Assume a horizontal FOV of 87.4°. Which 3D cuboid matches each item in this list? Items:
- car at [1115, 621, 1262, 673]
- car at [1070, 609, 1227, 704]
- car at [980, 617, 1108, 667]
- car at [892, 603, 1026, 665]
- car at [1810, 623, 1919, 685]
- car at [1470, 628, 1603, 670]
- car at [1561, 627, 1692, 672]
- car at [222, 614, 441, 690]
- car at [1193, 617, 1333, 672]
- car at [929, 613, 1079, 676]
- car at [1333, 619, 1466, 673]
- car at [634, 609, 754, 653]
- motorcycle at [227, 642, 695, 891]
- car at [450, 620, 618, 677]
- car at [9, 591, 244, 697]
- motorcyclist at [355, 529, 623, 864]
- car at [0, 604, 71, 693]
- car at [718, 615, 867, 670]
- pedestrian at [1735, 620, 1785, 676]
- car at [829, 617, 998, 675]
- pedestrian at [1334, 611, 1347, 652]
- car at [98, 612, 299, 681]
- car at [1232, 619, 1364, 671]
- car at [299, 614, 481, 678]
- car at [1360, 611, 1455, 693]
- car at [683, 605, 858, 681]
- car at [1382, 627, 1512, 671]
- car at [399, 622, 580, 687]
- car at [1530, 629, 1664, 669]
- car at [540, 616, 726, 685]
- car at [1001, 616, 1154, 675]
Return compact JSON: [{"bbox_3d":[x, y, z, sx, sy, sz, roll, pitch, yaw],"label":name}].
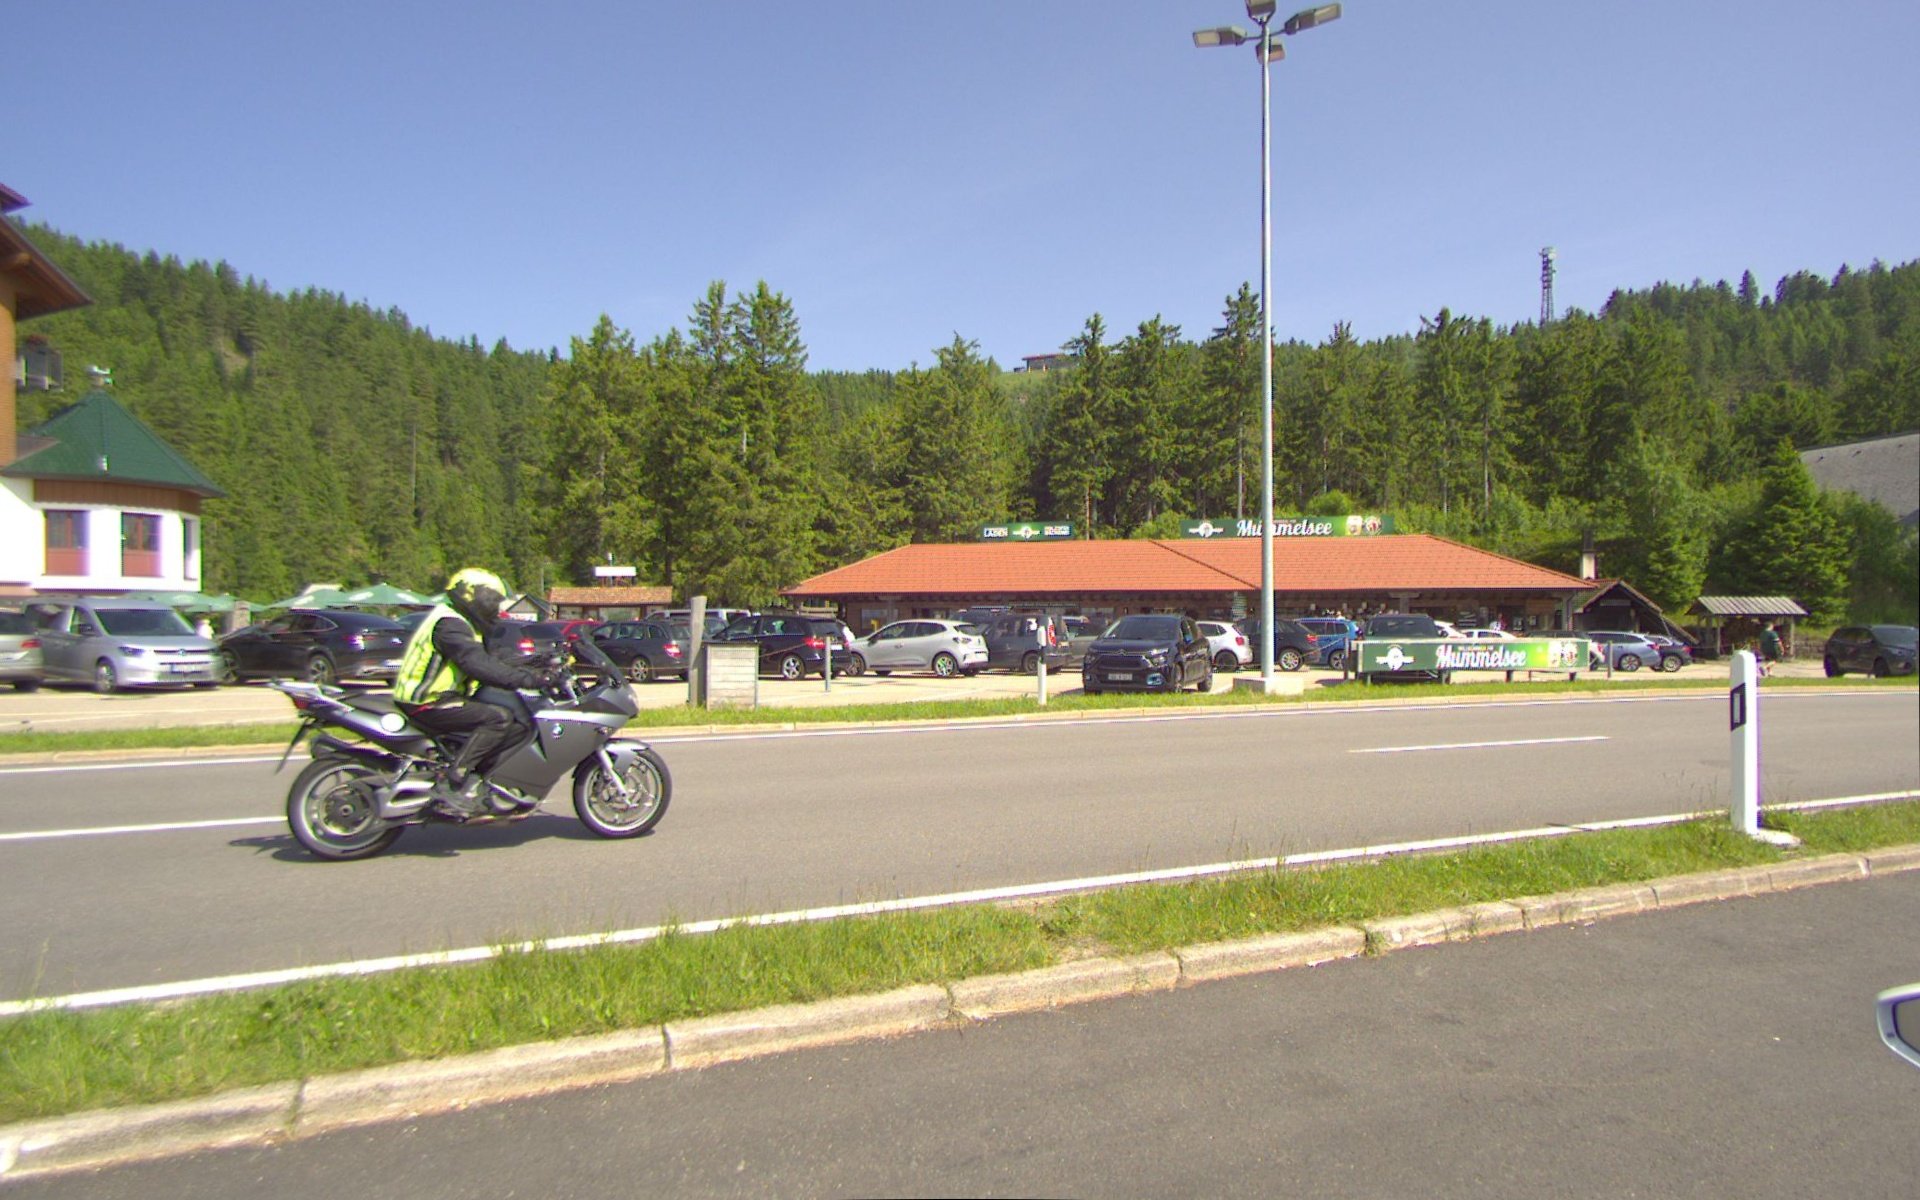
[{"bbox_3d":[6.706,1.352,29.430,3.923,1.439,1.907,-1,-2,23],"label":"car"},{"bbox_3d":[3.613,0.962,18.714,1.751,1.572,3.994,-1,-1,28],"label":"car"},{"bbox_3d":[2.861,1.410,34.038,3.921,1.595,2.000,-1,-2,20],"label":"car"},{"bbox_3d":[-0.027,1.104,32.733,3.921,1.929,2.000,-1,-1,20],"label":"car"},{"bbox_3d":[27.055,1.544,29.404,1.753,1.655,4.212,1,-1,17],"label":"car"},{"bbox_3d":[20.469,1.742,35.870,3.924,1.438,1.684,-1,-3,24],"label":"car"},{"bbox_3d":[25.655,1.885,38.831,3.924,1.639,1.998,-1,-1,25],"label":"car"},{"bbox_3d":[-13.000,1.047,20.793,3.923,1.449,1.913,-1,-1,22],"label":"car"},{"bbox_3d":[9.311,1.353,30.835,3.923,1.595,1.999,-1,-2,23],"label":"car"},{"bbox_3d":[1.190,1.179,27.035,3.661,1.609,1.734,-1,-1,23],"label":"car"},{"bbox_3d":[14.598,1.532,33.597,3.952,1.694,1.776,-1,-2,22],"label":"car"},{"bbox_3d":[-9.628,1.125,36.371,3.805,1.550,1.910,-1,-1,20],"label":"car"},{"bbox_3d":[-2.764,0.852,5.809,2.257,1.192,0.819,1,-1,-27],"label":"motorcycle"},{"bbox_3d":[-11.502,1.286,27.142,3.921,1.437,1.935,-1,-2,20],"label":"car"},{"bbox_3d":[-16.309,0.840,19.646,4.445,1.888,1.834,-1,-1,25],"label":"car"},{"bbox_3d":[-2.712,0.502,5.845,1.276,1.697,1.022,1,-1,-27],"label":"motorcyclist"},{"bbox_3d":[-18.628,0.884,18.472,3.924,1.566,1.999,-1,-1,24],"label":"car"},{"bbox_3d":[-4.994,1.253,29.997,3.921,1.572,2.000,-1,-2,20],"label":"car"},{"bbox_3d":[25.868,1.545,32.496,0.947,1.757,0.894,0,-1,-23],"label":"pedestrian"},{"bbox_3d":[-1.189,1.151,25.682,3.923,1.389,1.812,-1,-1,23],"label":"car"},{"bbox_3d":[17.981,1.467,47.471,0.518,1.898,0.547,1,0,21],"label":"pedestrian"},{"bbox_3d":[-17.820,1.072,23.543,3.921,1.502,1.935,-1,-2,20],"label":"car"},{"bbox_3d":[10.959,1.433,32.538,3.923,1.595,1.999,-1,-2,23],"label":"car"},{"bbox_3d":[-14.425,1.148,25.444,3.921,1.502,1.935,-1,-2,20],"label":"car"},{"bbox_3d":[9.667,1.043,21.830,1.707,1.588,4.058,0,-1,23],"label":"car"},{"bbox_3d":[-4.642,1.031,24.547,3.927,1.726,1.823,-1,-1,28],"label":"car"},{"bbox_3d":[16.924,1.705,35.138,3.947,1.487,1.776,-1,-3,22],"label":"car"},{"bbox_3d":[-10.382,1.182,22.199,3.568,1.339,1.587,-1,-1,21],"label":"car"},{"bbox_3d":[23.540,1.818,37.286,3.924,1.438,1.684,-1,-3,24],"label":"car"},{"bbox_3d":[-7.654,1.142,23.505,4.001,1.506,1.715,-1,-1,23],"label":"car"},{"bbox_3d":[3.341,1.264,28.443,3.924,1.565,1.898,-1,-1,24],"label":"car"}]
